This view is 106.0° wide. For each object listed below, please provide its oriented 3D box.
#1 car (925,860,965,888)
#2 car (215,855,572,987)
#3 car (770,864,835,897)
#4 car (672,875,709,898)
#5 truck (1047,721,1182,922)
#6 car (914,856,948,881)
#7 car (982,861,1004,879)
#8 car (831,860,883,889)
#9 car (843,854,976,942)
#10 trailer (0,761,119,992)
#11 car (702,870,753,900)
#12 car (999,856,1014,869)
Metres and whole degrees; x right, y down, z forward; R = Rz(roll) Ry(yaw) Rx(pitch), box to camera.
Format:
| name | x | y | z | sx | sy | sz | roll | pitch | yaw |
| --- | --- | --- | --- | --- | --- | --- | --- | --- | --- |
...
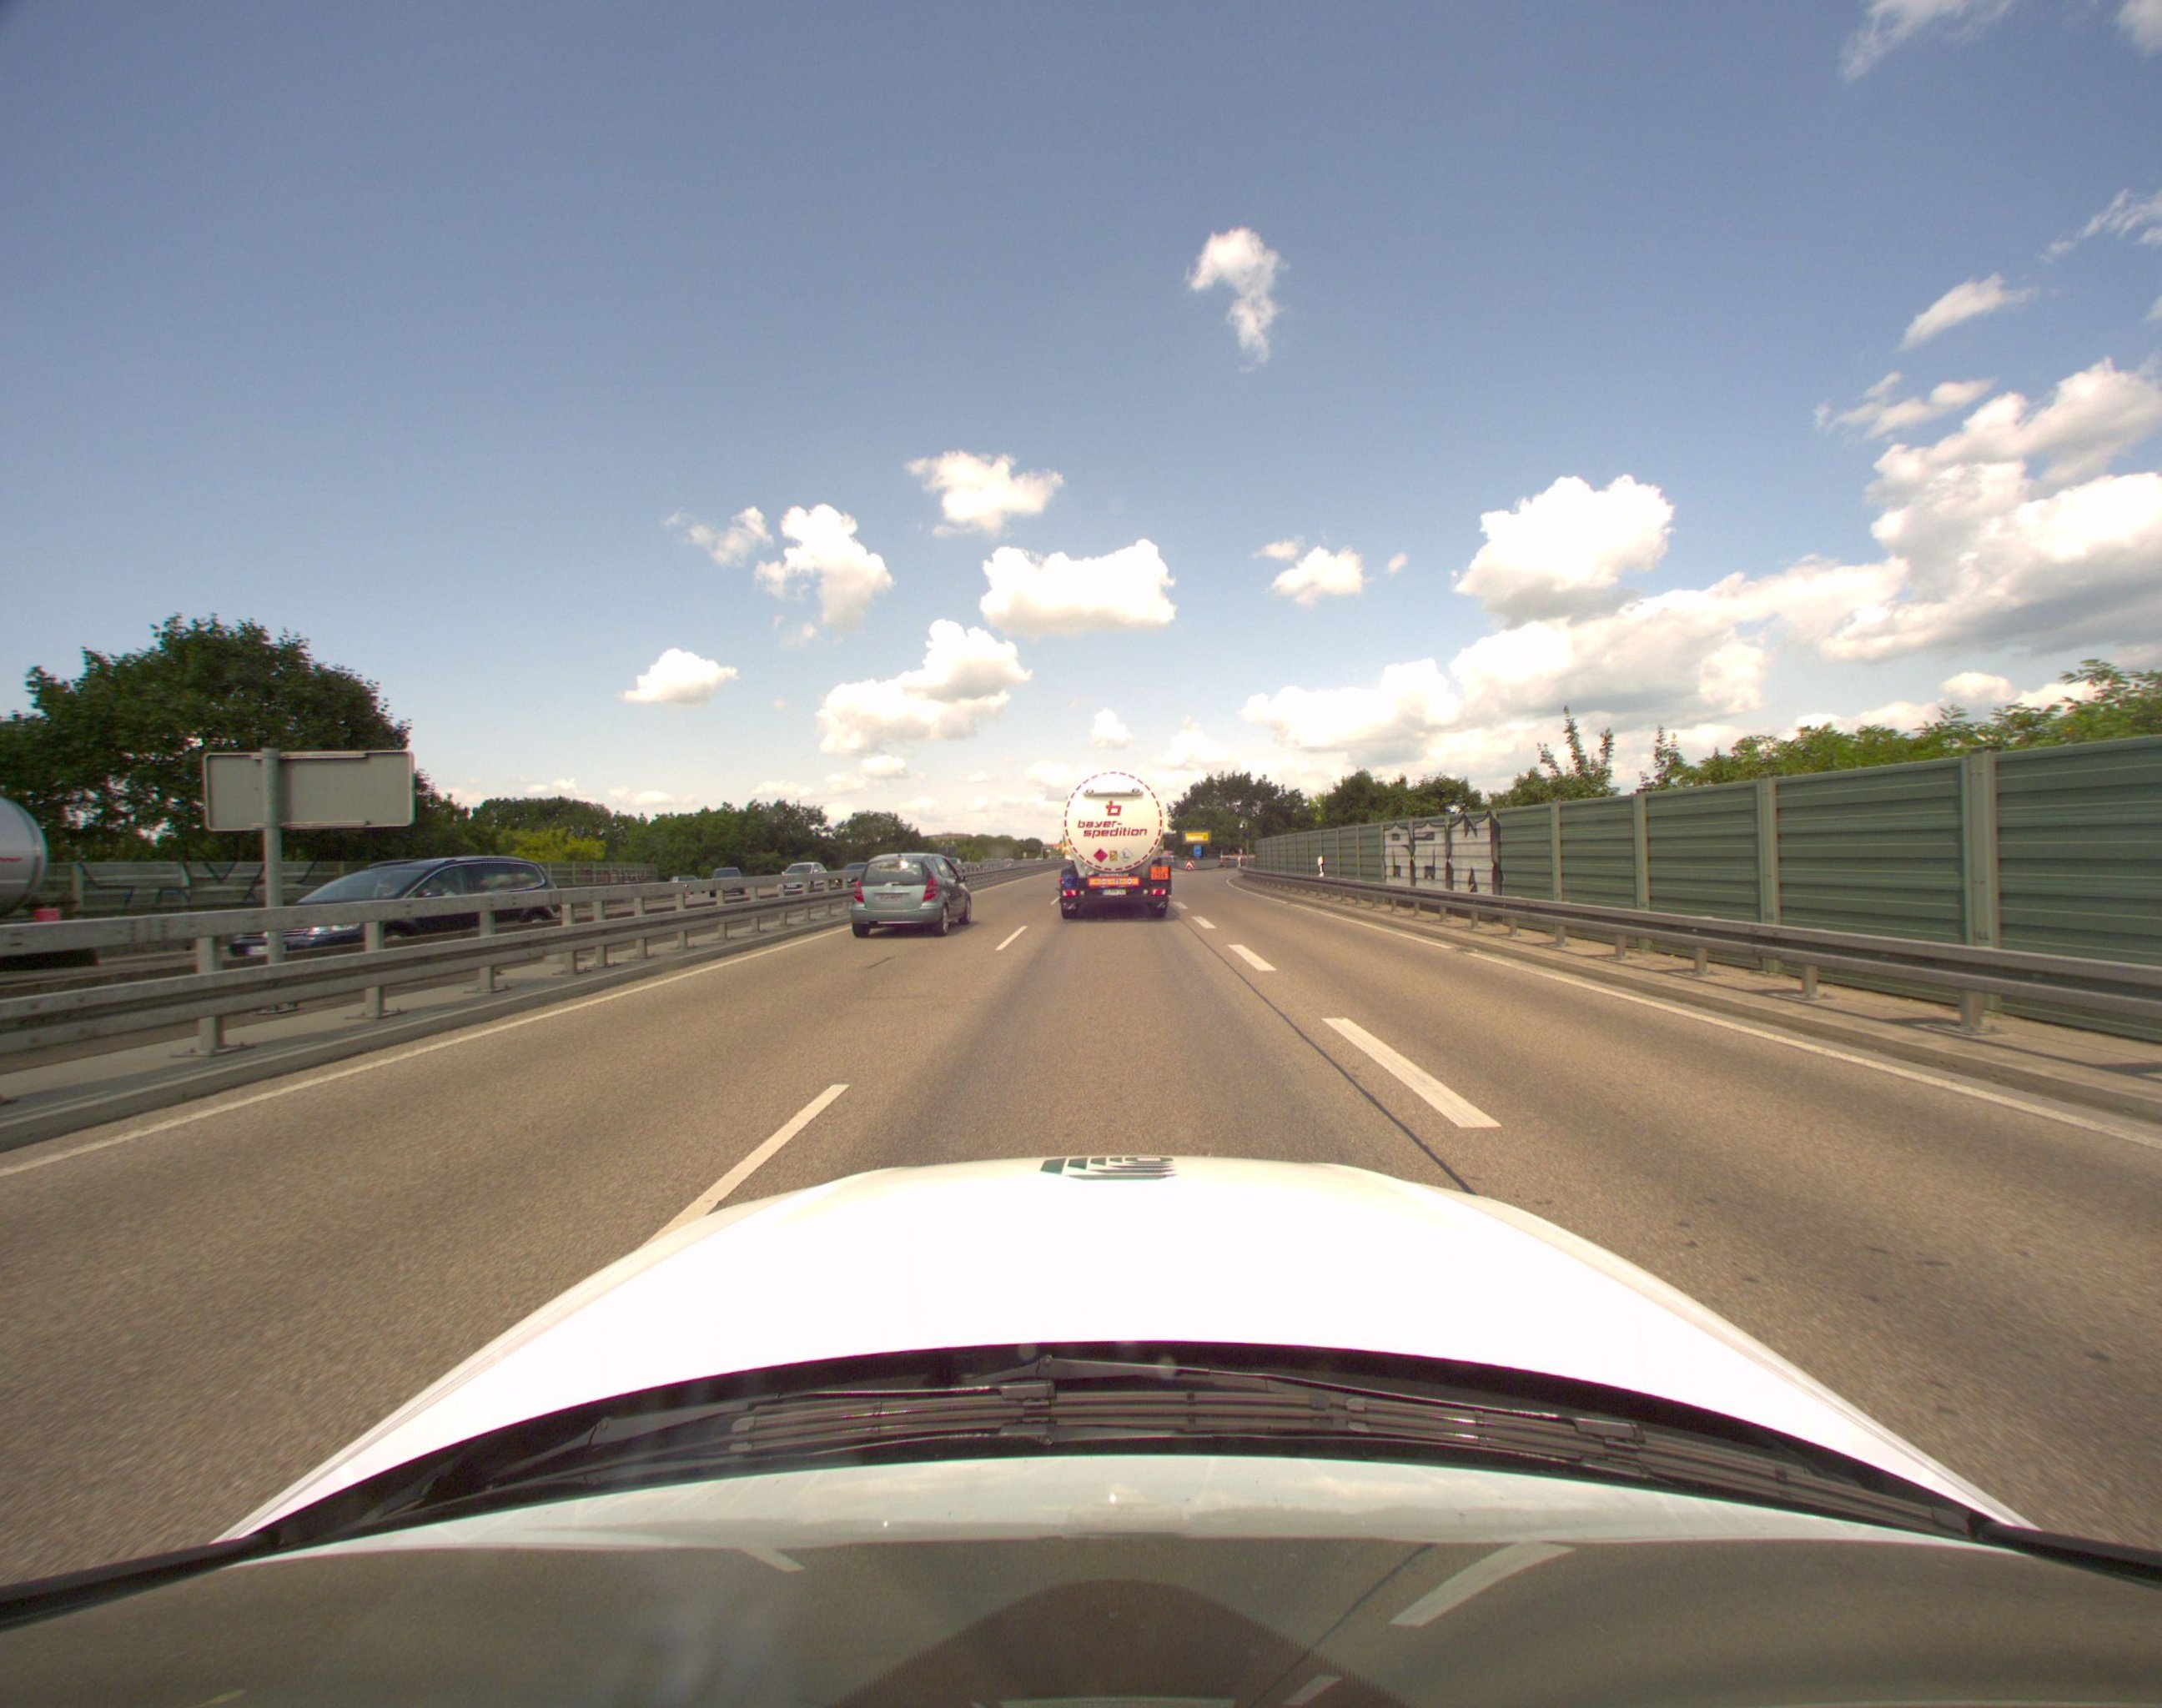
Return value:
| name | x | y | z | sx | sy | sz | roll | pitch | yaw |
| --- | --- | --- | --- | --- | --- | --- | --- | --- | --- |
| car | -9.330 | 1.362 | 56.321 | 1.987 | 1.857 | 4.239 | 0 | 0 | 1 |
| car | -10.724 | 0.915 | 13.310 | 1.988 | 1.750 | 4.593 | 0 | 0 | -2 |
| car | -14.131 | 1.311 | 41.616 | 1.917 | 1.574 | 3.887 | 0 | 0 | 1 |
| car | -30.486 | 2.574 | 63.462 | 1.938 | 1.574 | 4.237 | -5 | 0 | -34 |
| truck | 0.842 | -0.688 | 21.754 | 2.884 | 4.369 | 8.032 | 0 | 0 | 2 |
| car | -12.526 | 1.201 | 68.276 | 1.954 | 1.925 | 5.190 | 0 | 1 | 0 |
| car | -8.481 | 1.500 | 78.938 | 1.721 | 1.622 | 3.741 | 0 | 1 | 0 |
| car | -13.798 | 1.225 | 50.440 | 1.917 | 1.574 | 4.245 | -3 | 0 | 1 |
| car | -3.366 | 0.803 | 16.789 | 1.741 | 1.531 | 4.002 | -1 | 0 | 2 |
| trailer | -18.555 | 0.348 | 9.014 | 2.676 | 3.670 | 11.027 | 0 | 0 | 0 |
| car | -20.624 | 1.760 | 47.674 | 1.926 | 1.574 | 4.264 | -1 | 0 | -13 |
| car | -10.585 | 1.168 | 115.986 | 1.577 | 1.711 | 4.411 | 0 | 1 | 0 |
